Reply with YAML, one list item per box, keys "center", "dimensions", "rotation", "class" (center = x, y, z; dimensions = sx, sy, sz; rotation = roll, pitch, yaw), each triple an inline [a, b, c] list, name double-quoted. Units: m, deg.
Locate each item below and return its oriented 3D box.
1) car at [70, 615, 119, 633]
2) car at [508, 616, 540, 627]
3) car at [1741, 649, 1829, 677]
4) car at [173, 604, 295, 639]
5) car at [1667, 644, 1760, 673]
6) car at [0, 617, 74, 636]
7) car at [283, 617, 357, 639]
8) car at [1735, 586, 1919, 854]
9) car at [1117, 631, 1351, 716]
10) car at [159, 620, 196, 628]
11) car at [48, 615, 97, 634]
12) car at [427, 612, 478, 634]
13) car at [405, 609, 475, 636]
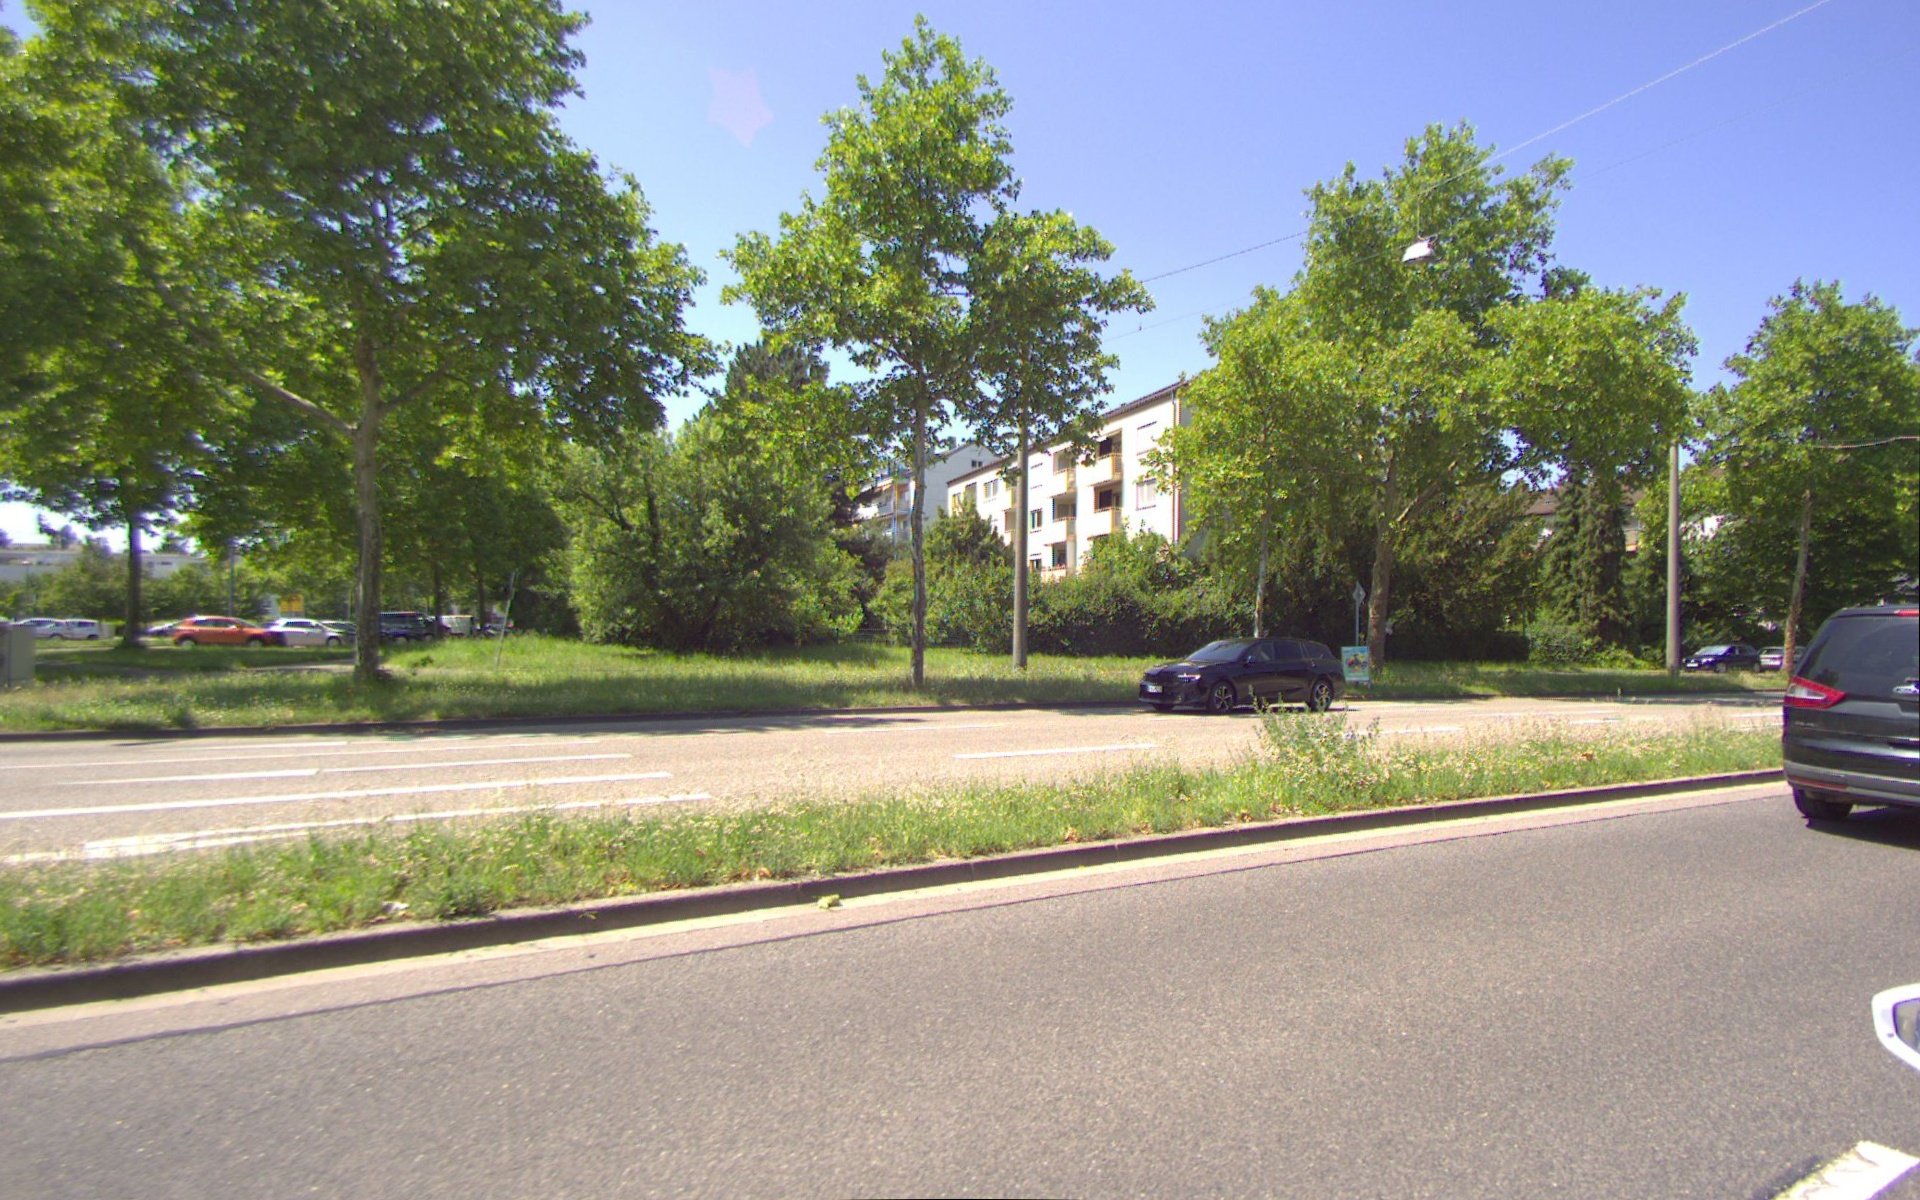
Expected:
- center: [-61.518, 1.680, 71.389]
  dimensions: [2.594, 1.221, 1.107]
  rotation: [3, -2, -42]
  class: "car"
- center: [-42.077, 2.046, 97.043]
  dimensions: [2.674, 1.007, 1.006]
  rotation: [1, -1, -14]
  class: "car"
- center: [44.081, 3.351, 53.668]
  dimensions: [3.938, 1.394, 1.880]
  rotation: [1, -1, -19]
  class: "car"
- center: [-32.250, 0.954, 44.718]
  dimensions: [4.068, 1.415, 1.454]
  rotation: [2, 0, -15]
  class: "car"
- center: [38.789, 2.993, 51.705]
  dimensions: [3.935, 1.411, 1.881]
  rotation: [1, -1, -16]
  class: "car"
- center: [-60.253, 1.736, 65.293]
  dimensions: [3.855, 1.221, 1.349]
  rotation: [2, -2, -35]
  class: "car"
- center: [-33.487, 1.454, 52.624]
  dimensions: [3.003, 1.099, 1.383]
  rotation: [1, -2, -19]
  class: "car"
- center: [8.330, 0.865, 7.939]
  dimensions: [4.592, 1.779, 1.846]
  rotation: [2, -1, -29]
  class: "car"
- center: [5.443, 1.394, 19.822]
  dimensions: [4.539, 1.526, 1.804]
  rotation: [2, -2, -30]
  class: "car"
- center: [-63.137, 1.948, 81.068]
  dimensions: [2.267, 0.652, 0.768]
  rotation: [2, -2, -35]
  class: "car"
- center: [-60.349, 1.683, 68.342]
  dimensions: [2.437, 1.221, 1.107]
  rotation: [3, -2, -42]
  class: "car"
- center: [-36.610, 1.679, 72.538]
  dimensions: [3.011, 1.509, 1.475]
  rotation: [2, -1, -14]
  class: "car"
- center: [-33.238, 1.463, 64.278]
  dimensions: [3.709, 1.630, 1.618]
  rotation: [2, -1, -20]
  class: "car"
